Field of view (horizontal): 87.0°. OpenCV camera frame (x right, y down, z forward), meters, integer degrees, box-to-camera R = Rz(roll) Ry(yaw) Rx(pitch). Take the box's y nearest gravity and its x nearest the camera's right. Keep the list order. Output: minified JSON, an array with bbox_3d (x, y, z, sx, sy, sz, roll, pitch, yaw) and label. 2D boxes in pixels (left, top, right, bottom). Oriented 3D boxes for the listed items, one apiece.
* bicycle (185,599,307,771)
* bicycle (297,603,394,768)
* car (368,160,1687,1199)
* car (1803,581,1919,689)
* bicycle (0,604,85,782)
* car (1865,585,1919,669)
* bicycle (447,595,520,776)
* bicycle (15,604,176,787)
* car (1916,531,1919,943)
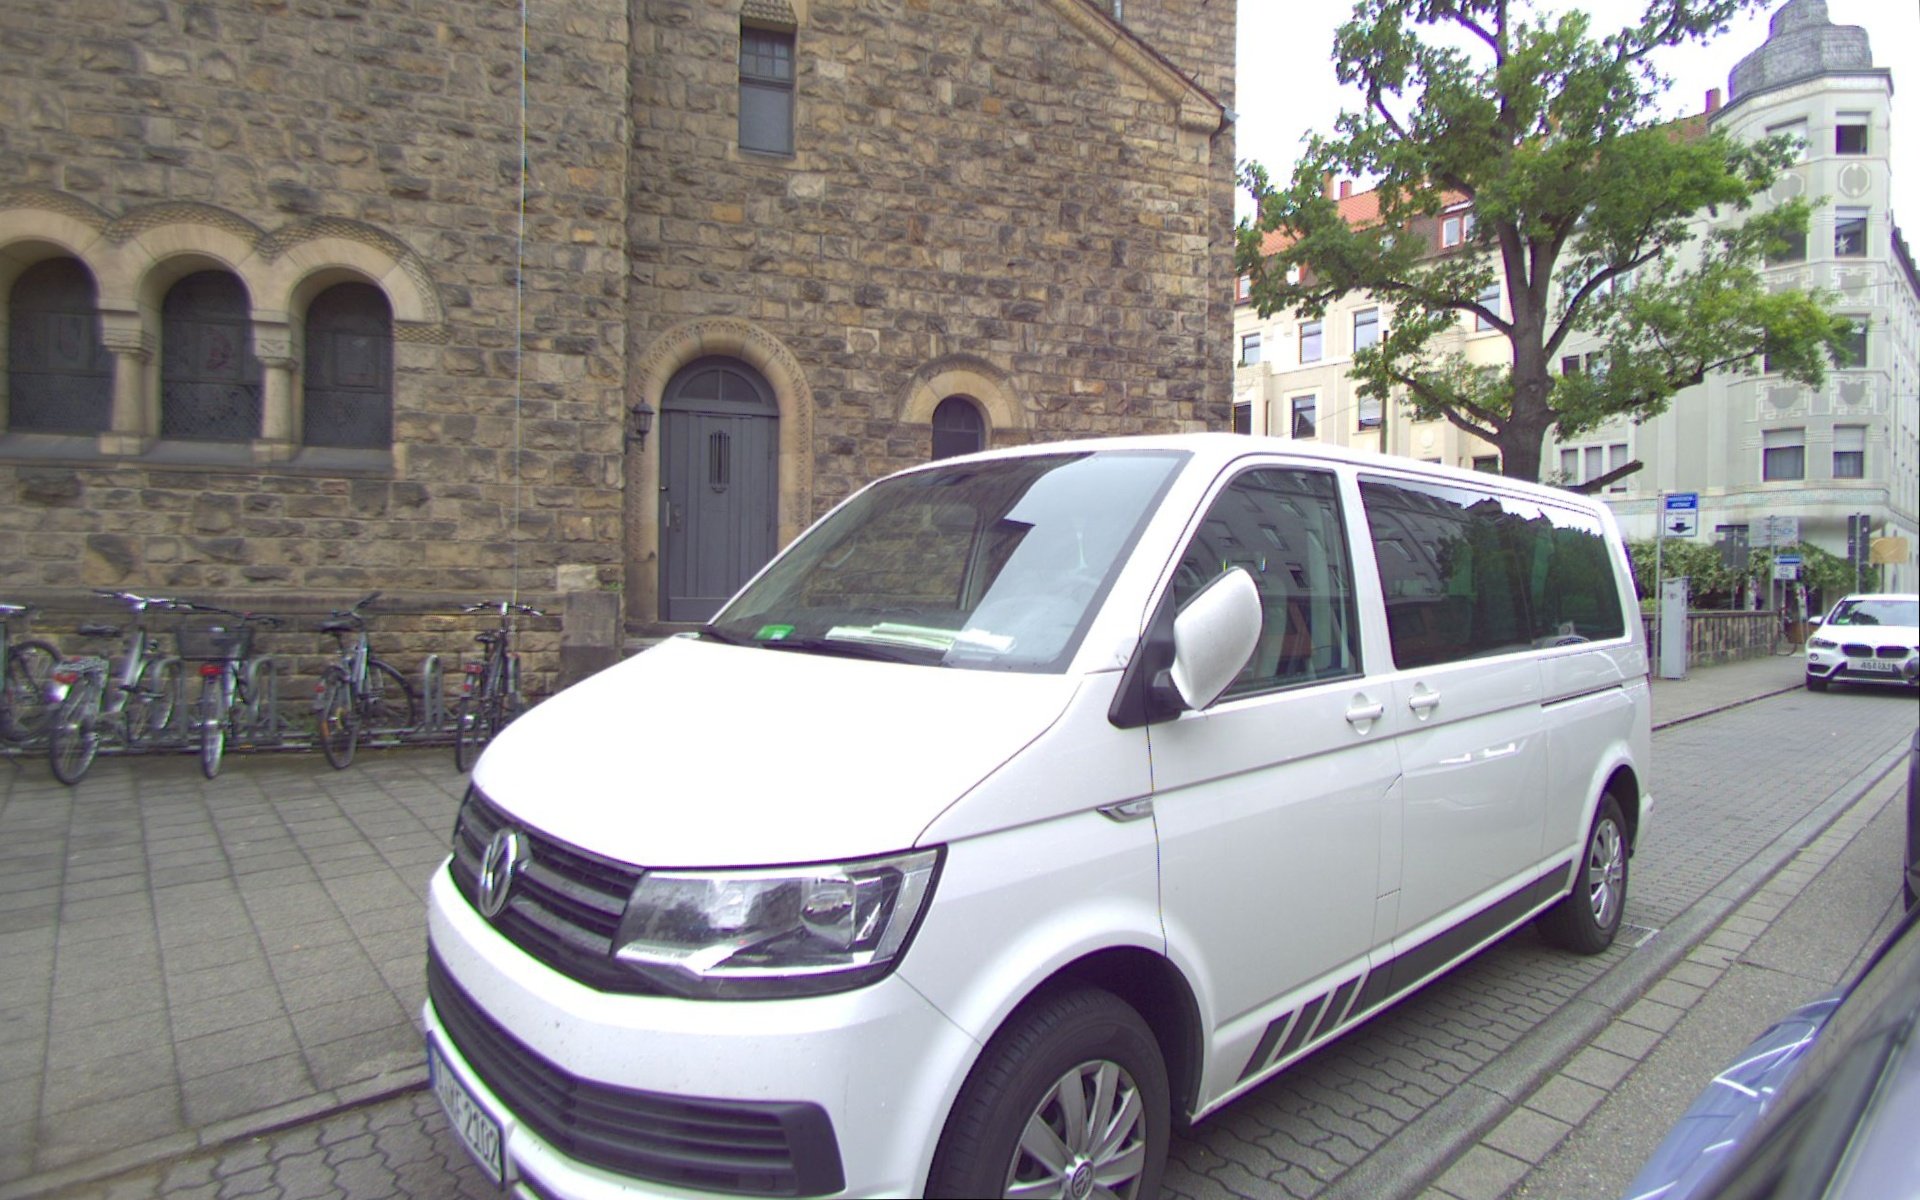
[{"bbox_3d":[-4.990,0.542,7.130,0.304,1.073,1.386,1,0,-18],"label":"bicycle"},{"bbox_3d":[-4.459,0.570,7.399,0.304,1.073,1.346,1,0,-18],"label":"bicycle"},{"bbox_3d":[0.921,0.390,3.702,5.075,1.944,1.807,0,0,-42],"label":"car"},{"bbox_3d":[15.360,0.517,16.551,3.930,1.585,1.818,0,0,-41],"label":"car"},{"bbox_3d":[-6.092,0.572,6.416,0.304,1.073,1.386,1,0,-18],"label":"bicycle"},{"bbox_3d":[19.816,0.525,20.432,3.930,1.585,1.818,0,0,-41],"label":"car"},{"bbox_3d":[-3.403,0.555,7.279,0.304,1.161,1.346,1,0,-18],"label":"bicycle"},{"bbox_3d":[-5.694,0.572,6.733,0.304,1.073,1.386,1,0,-18],"label":"bicycle"},{"bbox_3d":[6.035,0.582,4.787,3.930,1.706,1.818,0,0,-41],"label":"car"}]
